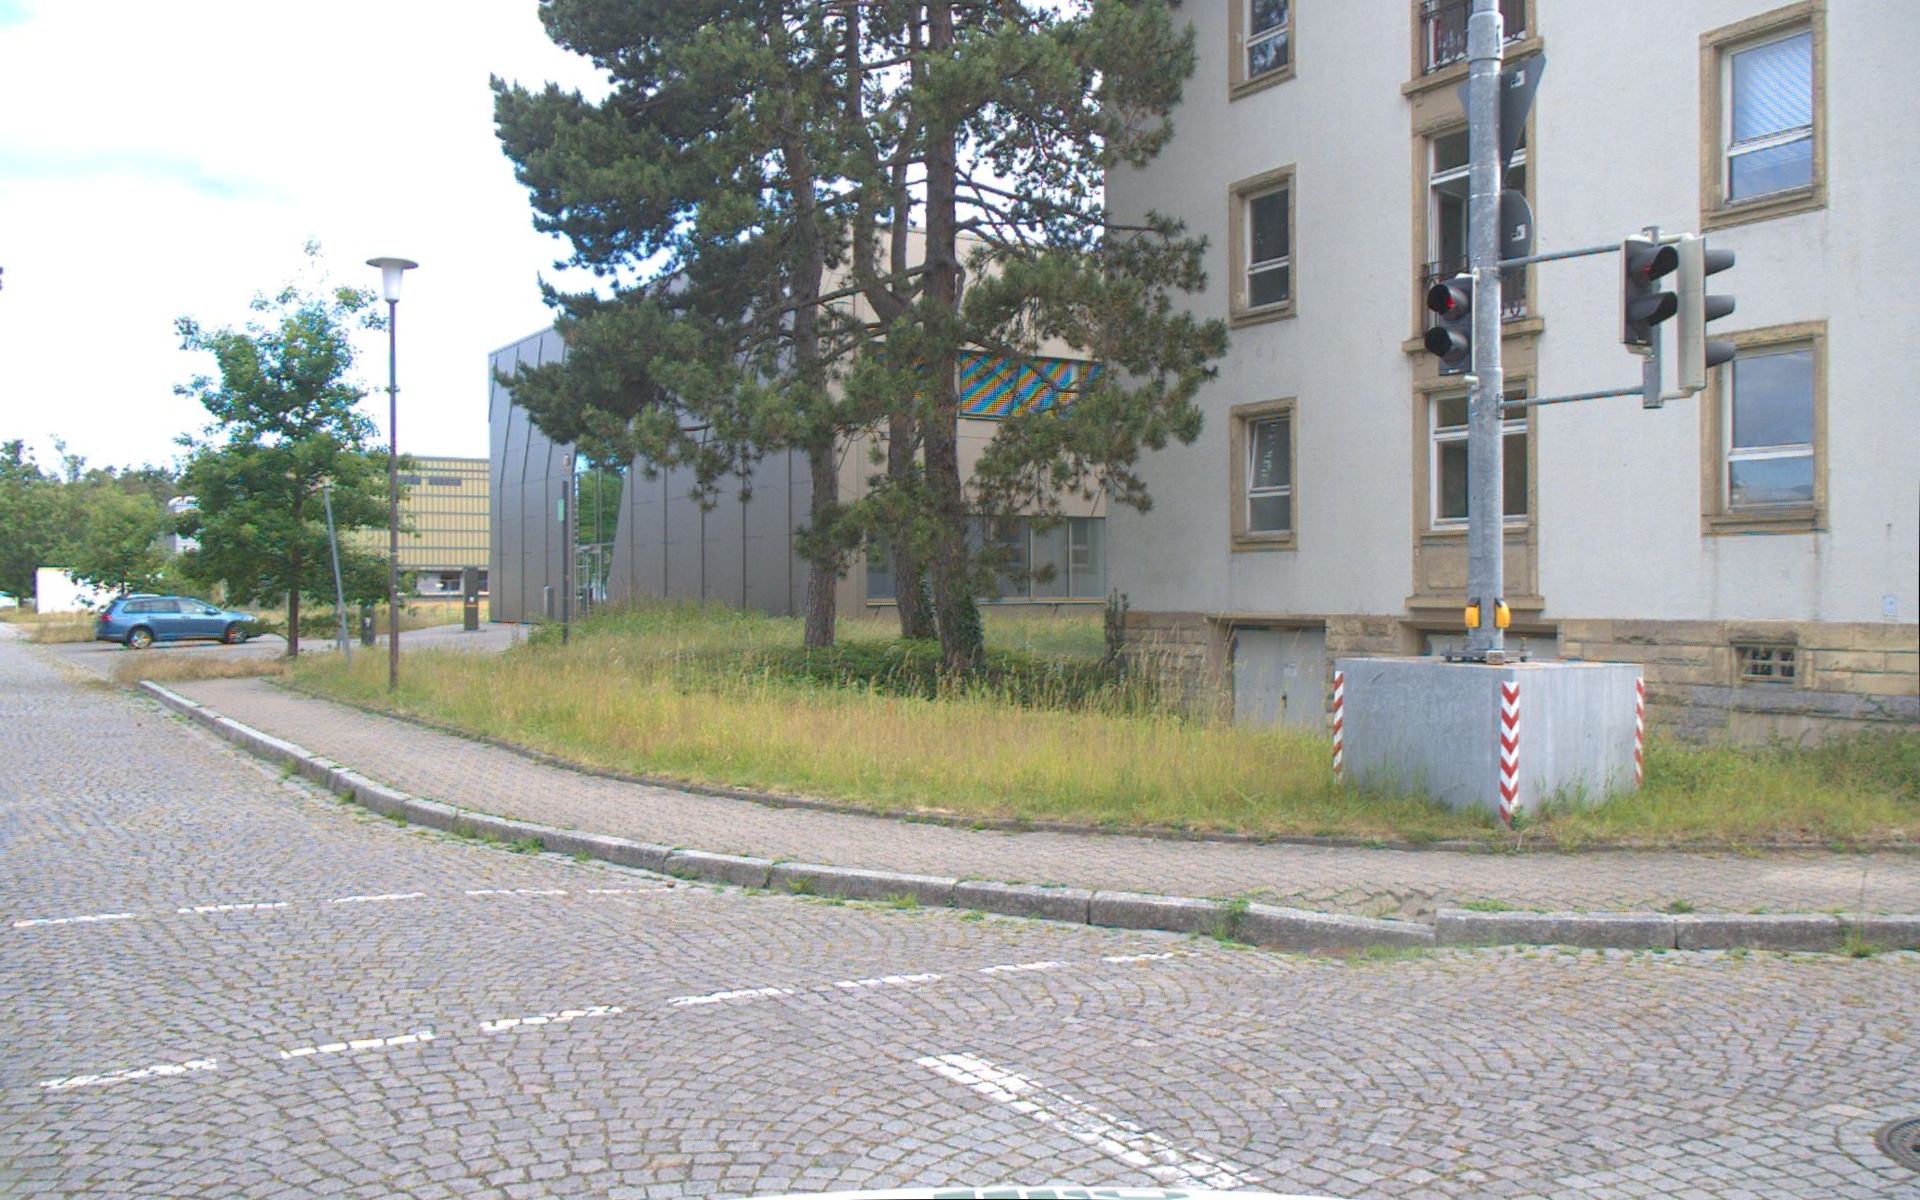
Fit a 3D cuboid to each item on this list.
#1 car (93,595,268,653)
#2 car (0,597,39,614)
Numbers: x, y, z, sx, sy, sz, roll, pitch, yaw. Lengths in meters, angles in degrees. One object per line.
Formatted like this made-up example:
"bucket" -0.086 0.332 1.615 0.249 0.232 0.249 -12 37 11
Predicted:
"car" -23.146 0.677 49.142 4.444 1.488 1.911 -3 2 -35
"car" -85.812 0.497 149.713 4.279 1.576 1.979 0 0 -31
